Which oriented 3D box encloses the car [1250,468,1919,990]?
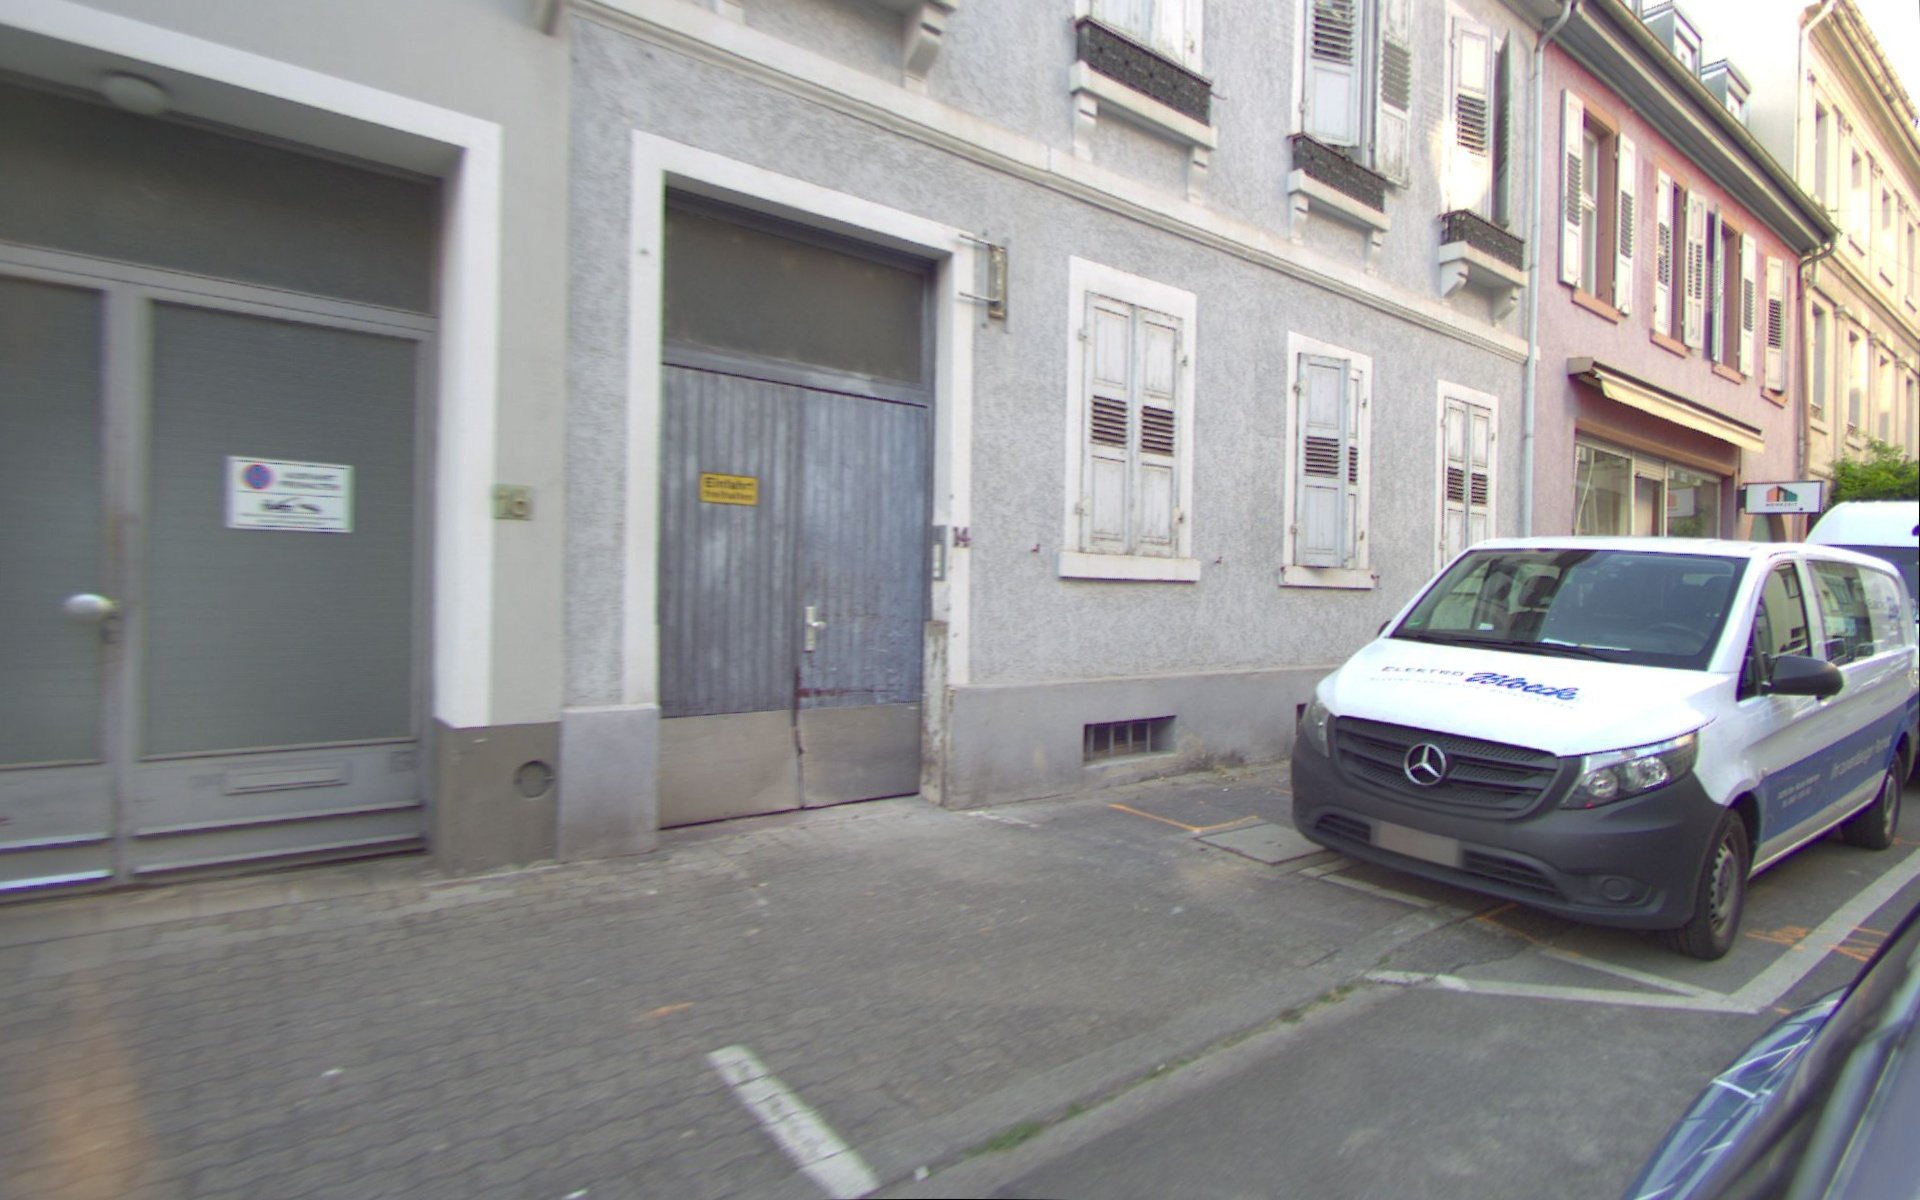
[{"bbox_3d":[4.191,0.416,6.082,5.220,1.917,1.947,0,4,-38],"label":"car"}]

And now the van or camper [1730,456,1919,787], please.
[{"bbox_3d":[10.368,0.208,10.444,6.931,2.671,2.056,1,0,-37],"label":"van or camper"}]
